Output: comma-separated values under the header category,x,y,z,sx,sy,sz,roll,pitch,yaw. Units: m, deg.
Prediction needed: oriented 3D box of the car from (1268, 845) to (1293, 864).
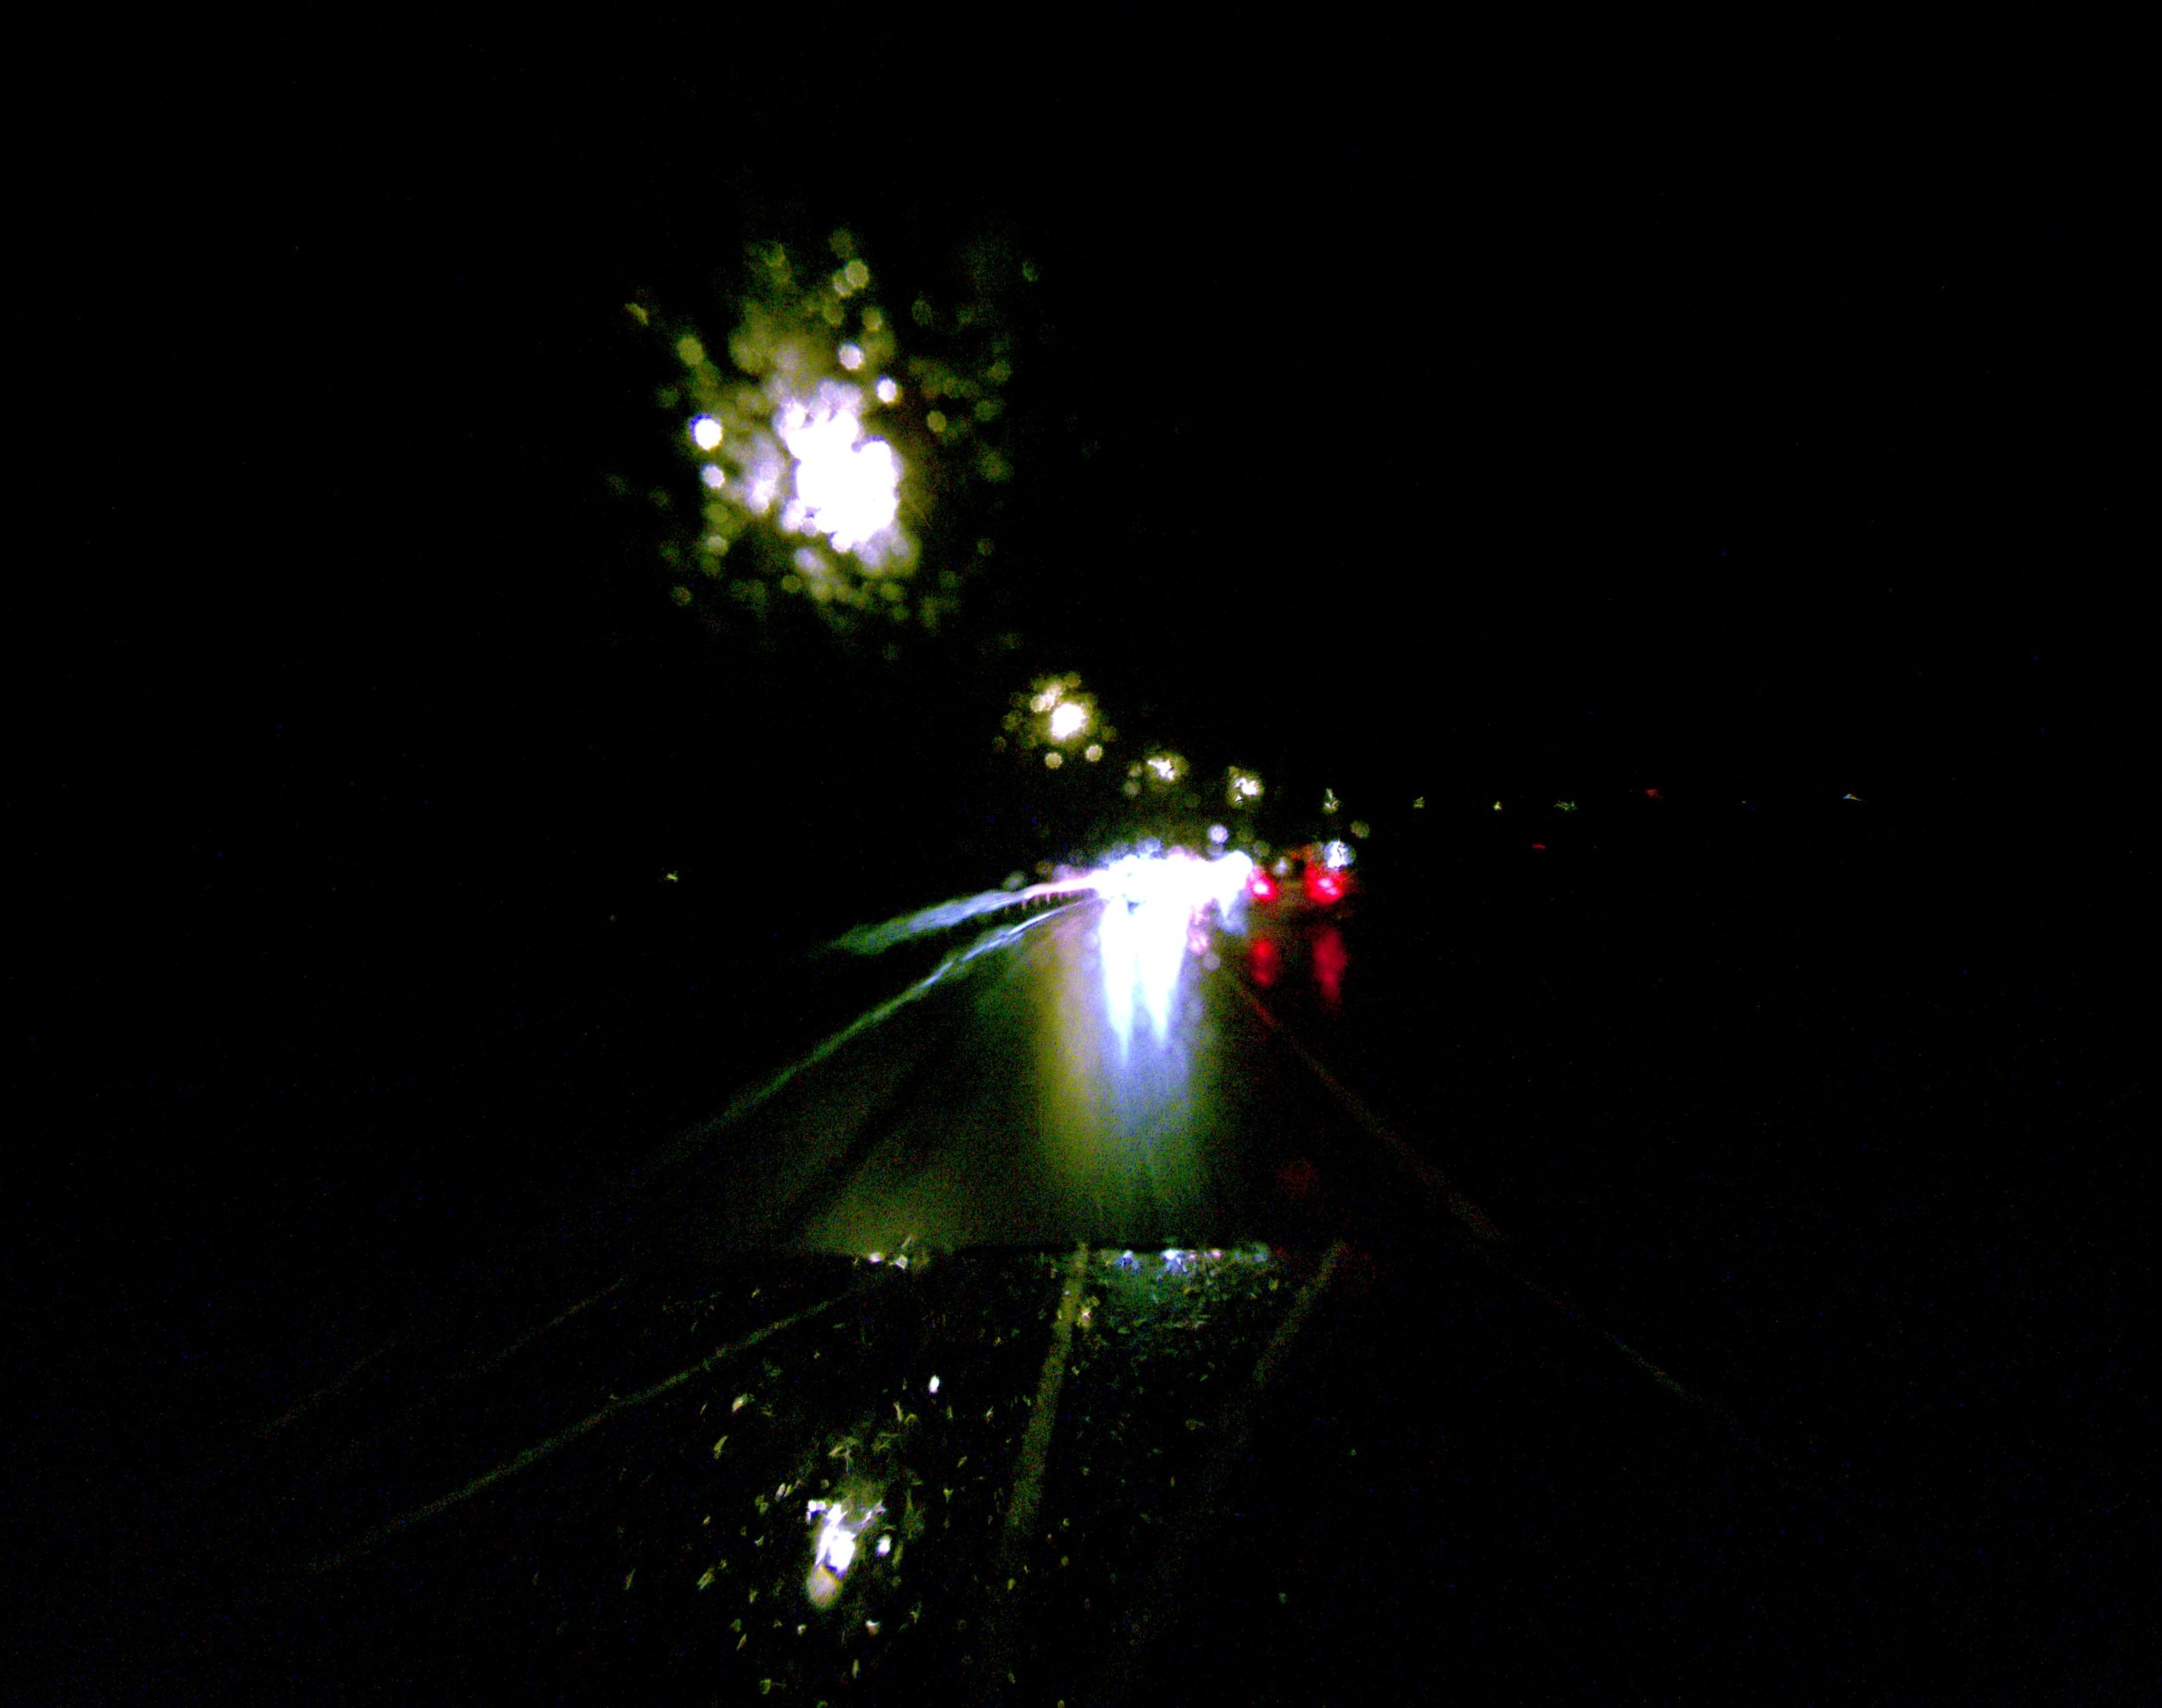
category,x,y,z,sx,sy,sz,roll,pitch,yaw
car,21.188,0.073,80.748,1.995,1.922,4.006,-2,0,22

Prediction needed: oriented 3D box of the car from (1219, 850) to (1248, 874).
category,x,y,z,sx,sy,sz,roll,pitch,yaw
car,13.107,0.660,65.121,1.996,1.922,4.005,-2,0,17

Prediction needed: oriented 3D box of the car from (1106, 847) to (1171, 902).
category,x,y,z,sx,sy,sz,roll,pitch,yaw
car,2.224,0.743,28.500,1.935,1.861,4.003,-2,0,11

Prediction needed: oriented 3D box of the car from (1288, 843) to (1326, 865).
category,x,y,z,sx,sy,sz,roll,pitch,yaw
car,21.967,-0.027,73.714,2.451,1.976,5.504,-2,0,28

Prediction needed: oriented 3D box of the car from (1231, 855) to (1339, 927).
category,x,y,z,sx,sy,sz,roll,pitch,yaw
car,4.701,0.787,18.101,1.796,1.384,4.593,-1,1,6

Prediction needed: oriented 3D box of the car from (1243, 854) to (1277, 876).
category,x,y,z,sx,sy,sz,roll,pitch,yaw
car,11.948,0.714,50.577,1.731,1.396,3.868,-2,0,19

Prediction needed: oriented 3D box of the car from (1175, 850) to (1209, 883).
category,x,y,z,sx,sy,sz,roll,pitch,yaw
car,7.010,0.776,48.069,1.997,1.922,4.003,-2,0,8

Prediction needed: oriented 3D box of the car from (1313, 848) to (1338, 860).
category,x,y,z,sx,sy,sz,roll,pitch,yaw
car,31.506,0.024,97.837,1.995,1.475,4.008,-2,0,32
